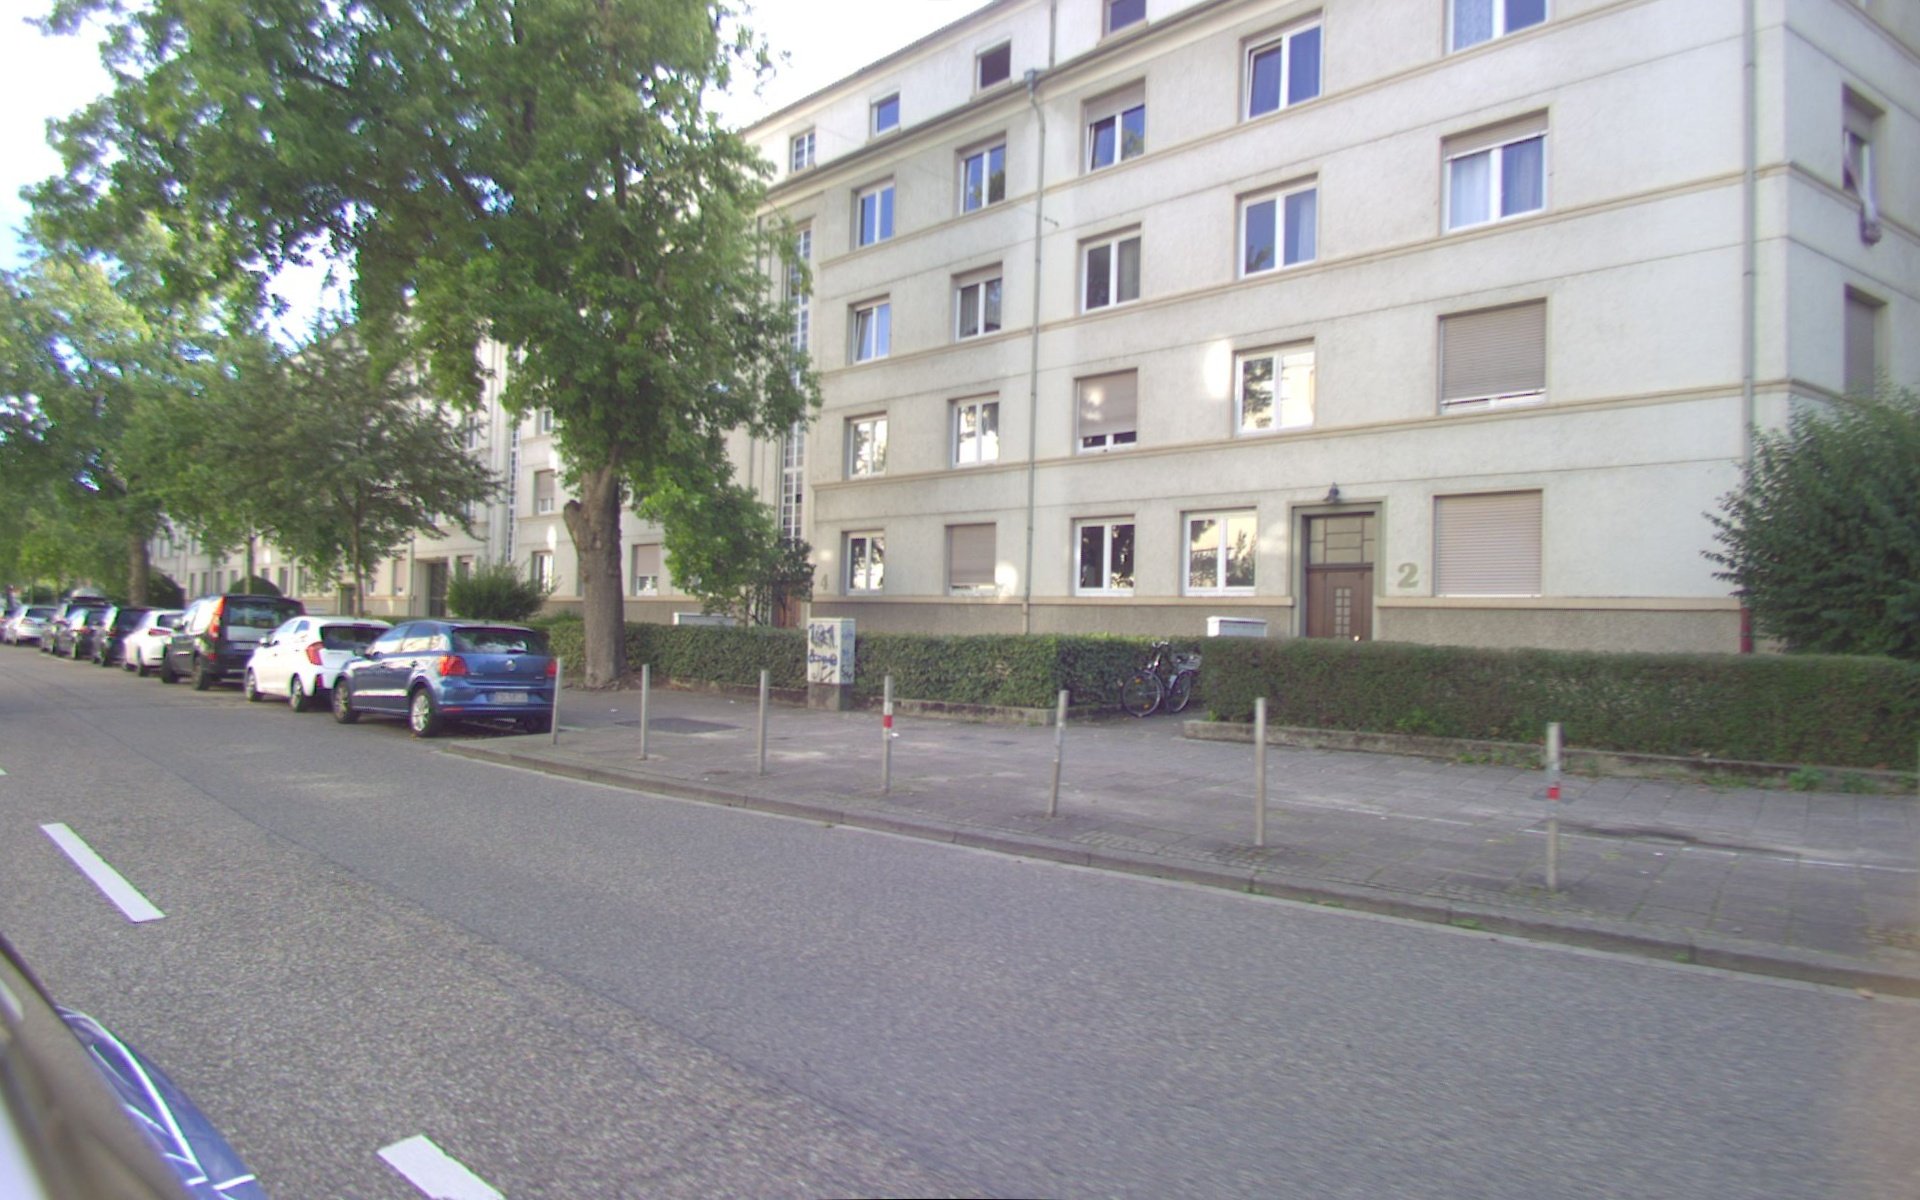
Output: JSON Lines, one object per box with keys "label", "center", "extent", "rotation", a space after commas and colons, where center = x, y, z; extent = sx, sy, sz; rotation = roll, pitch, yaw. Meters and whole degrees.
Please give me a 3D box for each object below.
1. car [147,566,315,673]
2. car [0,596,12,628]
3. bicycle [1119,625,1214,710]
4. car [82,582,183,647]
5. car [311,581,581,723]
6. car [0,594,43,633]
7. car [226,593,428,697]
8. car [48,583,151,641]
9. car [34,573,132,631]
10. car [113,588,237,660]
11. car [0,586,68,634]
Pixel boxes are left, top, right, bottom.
{"label": "car", "center": [-14.630, 0.382, 20.239], "extent": [4.189, 1.897, 1.705], "rotation": [0, -4, 41]}
{"label": "car", "center": [-47.056, 0.493, 48.774], "extent": [4.453, 1.492, 1.666], "rotation": [0, -5, 44]}
{"label": "bicycle", "center": [3.033, 0.956, 14.757], "extent": [0.597, 1.140, 1.849], "rotation": [0, -2, 37]}
{"label": "car", "center": [-21.760, 0.377, 26.580], "extent": [3.016, 1.532, 1.536], "rotation": [0, -4, 43]}
{"label": "car", "center": [-6.947, 0.653, 13.555], "extent": [3.800, 1.632, 1.781], "rotation": [0, -4, 40]}
{"label": "car", "center": [-39.169, 0.519, 41.543], "extent": [4.010, 1.479, 1.598], "rotation": [0, -5, 39]}
{"label": "car", "center": [-10.490, 0.717, 16.674], "extent": [3.802, 1.505, 1.780], "rotation": [0, -4, 42]}
{"label": "car", "center": [-24.802, 0.341, 29.129], "extent": [3.847, 1.498, 1.682], "rotation": [0, -4, 42]}
{"label": "car", "center": [-28.531, 0.081, 32.863], "extent": [4.482, 1.681, 1.780], "rotation": [0, -4, 42]}
{"label": "car", "center": [-18.446, 0.555, 23.706], "extent": [4.334, 1.504, 1.675], "rotation": [0, -4, 45]}
{"label": "car", "center": [-35.717, 0.373, 38.690], "extent": [3.991, 1.632, 1.721], "rotation": [0, -4, 40]}
